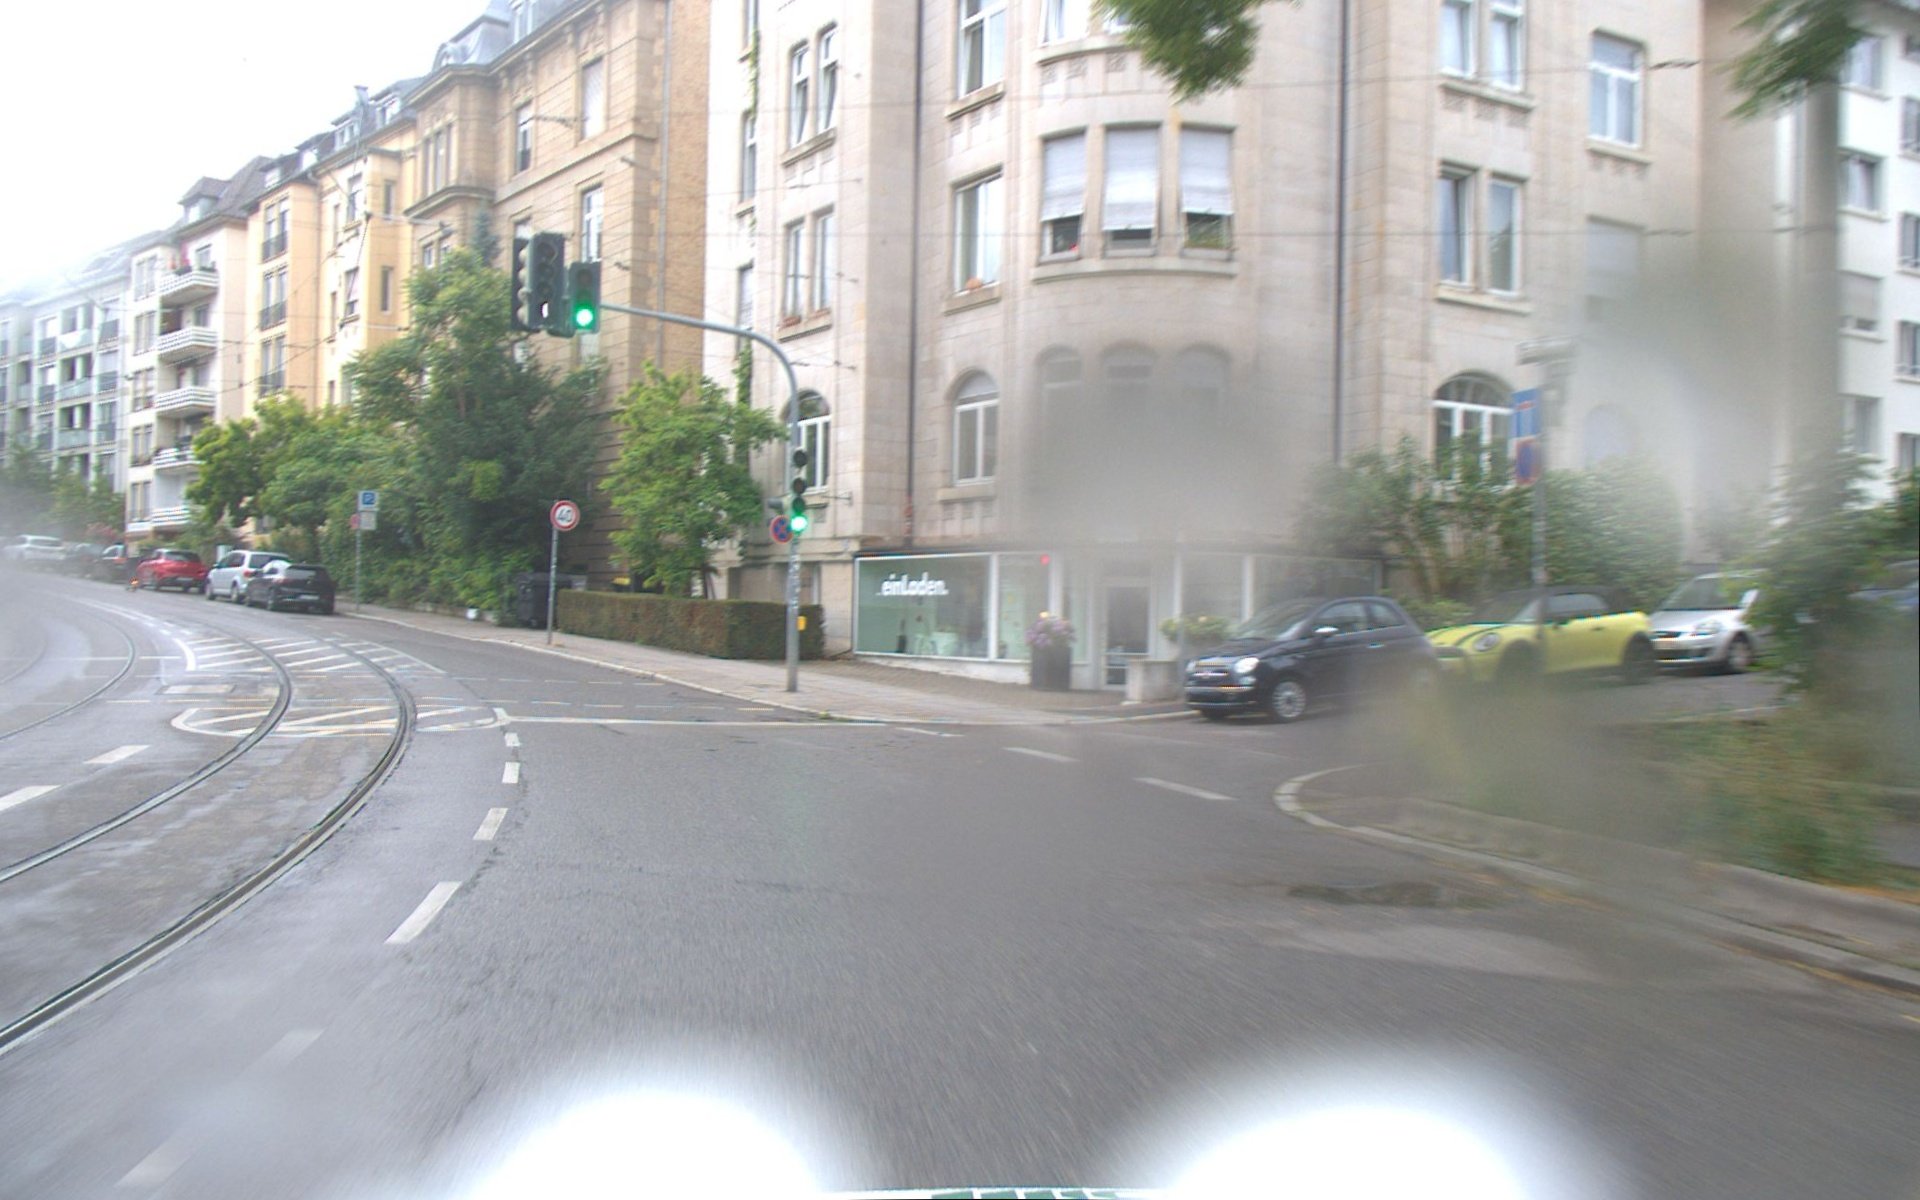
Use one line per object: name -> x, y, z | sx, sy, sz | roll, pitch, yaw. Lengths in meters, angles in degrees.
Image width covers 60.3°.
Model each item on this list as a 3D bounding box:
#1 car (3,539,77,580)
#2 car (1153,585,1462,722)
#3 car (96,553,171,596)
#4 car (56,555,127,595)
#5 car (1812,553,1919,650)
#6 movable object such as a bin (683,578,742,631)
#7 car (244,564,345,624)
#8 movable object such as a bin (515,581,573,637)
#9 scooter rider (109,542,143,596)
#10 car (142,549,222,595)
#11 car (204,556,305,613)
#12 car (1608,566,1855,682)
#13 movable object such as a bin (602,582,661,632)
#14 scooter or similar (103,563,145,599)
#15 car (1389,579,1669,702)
car -> -42.168, -1.860, 75.748 | 1.830, 1.600, 4.179 | 5, -1, -45
car -> 4.455, 0.617, 21.147 | 3.615, 1.534, 1.722 | -2, 1, -27
car -> -32.540, -1.008, 65.082 | 1.673, 1.462, 4.004 | 4, 0, -41
car -> -36.648, -1.063, 69.713 | 1.549, 1.462, 4.237 | 4, 0, -43
car -> 16.422, 0.076, 27.980 | 3.835, 1.534, 1.610 | 1, -2, -25
movable object such as a bin -> -7.046, 0.127, 47.044 | 1.221, 1.449, 1.291 | 0, 1, -36
car -> -19.436, -0.193, 48.213 | 1.752, 1.414, 3.950 | 4, 1, -36
movable object such as a bin -> -10.983, 0.229, 43.673 | 1.219, 1.427, 0.810 | 0, 4, -44
scooter rider -> -28.331, -1.058, 56.173 | 0.829, 1.735, 0.621 | 4, -2, 42
car -> -27.779, -1.014, 58.989 | 1.710, 1.462, 3.789 | 4, 0, -38
car -> -22.372, -0.511, 52.372 | 1.755, 1.631, 4.226 | 1, 1, -40
car -> 11.872, 0.353, 25.396 | 3.725, 1.534, 1.606 | -3, -1, -32
movable object such as a bin -> -9.057, 0.184, 45.552 | 1.208, 1.331, 1.153 | 0, 1, -36
scooter or similar -> -28.443, -0.653, 56.267 | 1.974, 1.067, 0.512 | 4, -1, 42
car -> 7.995, 0.504, 23.225 | 3.616, 1.534, 1.722 | -2, 1, -27
